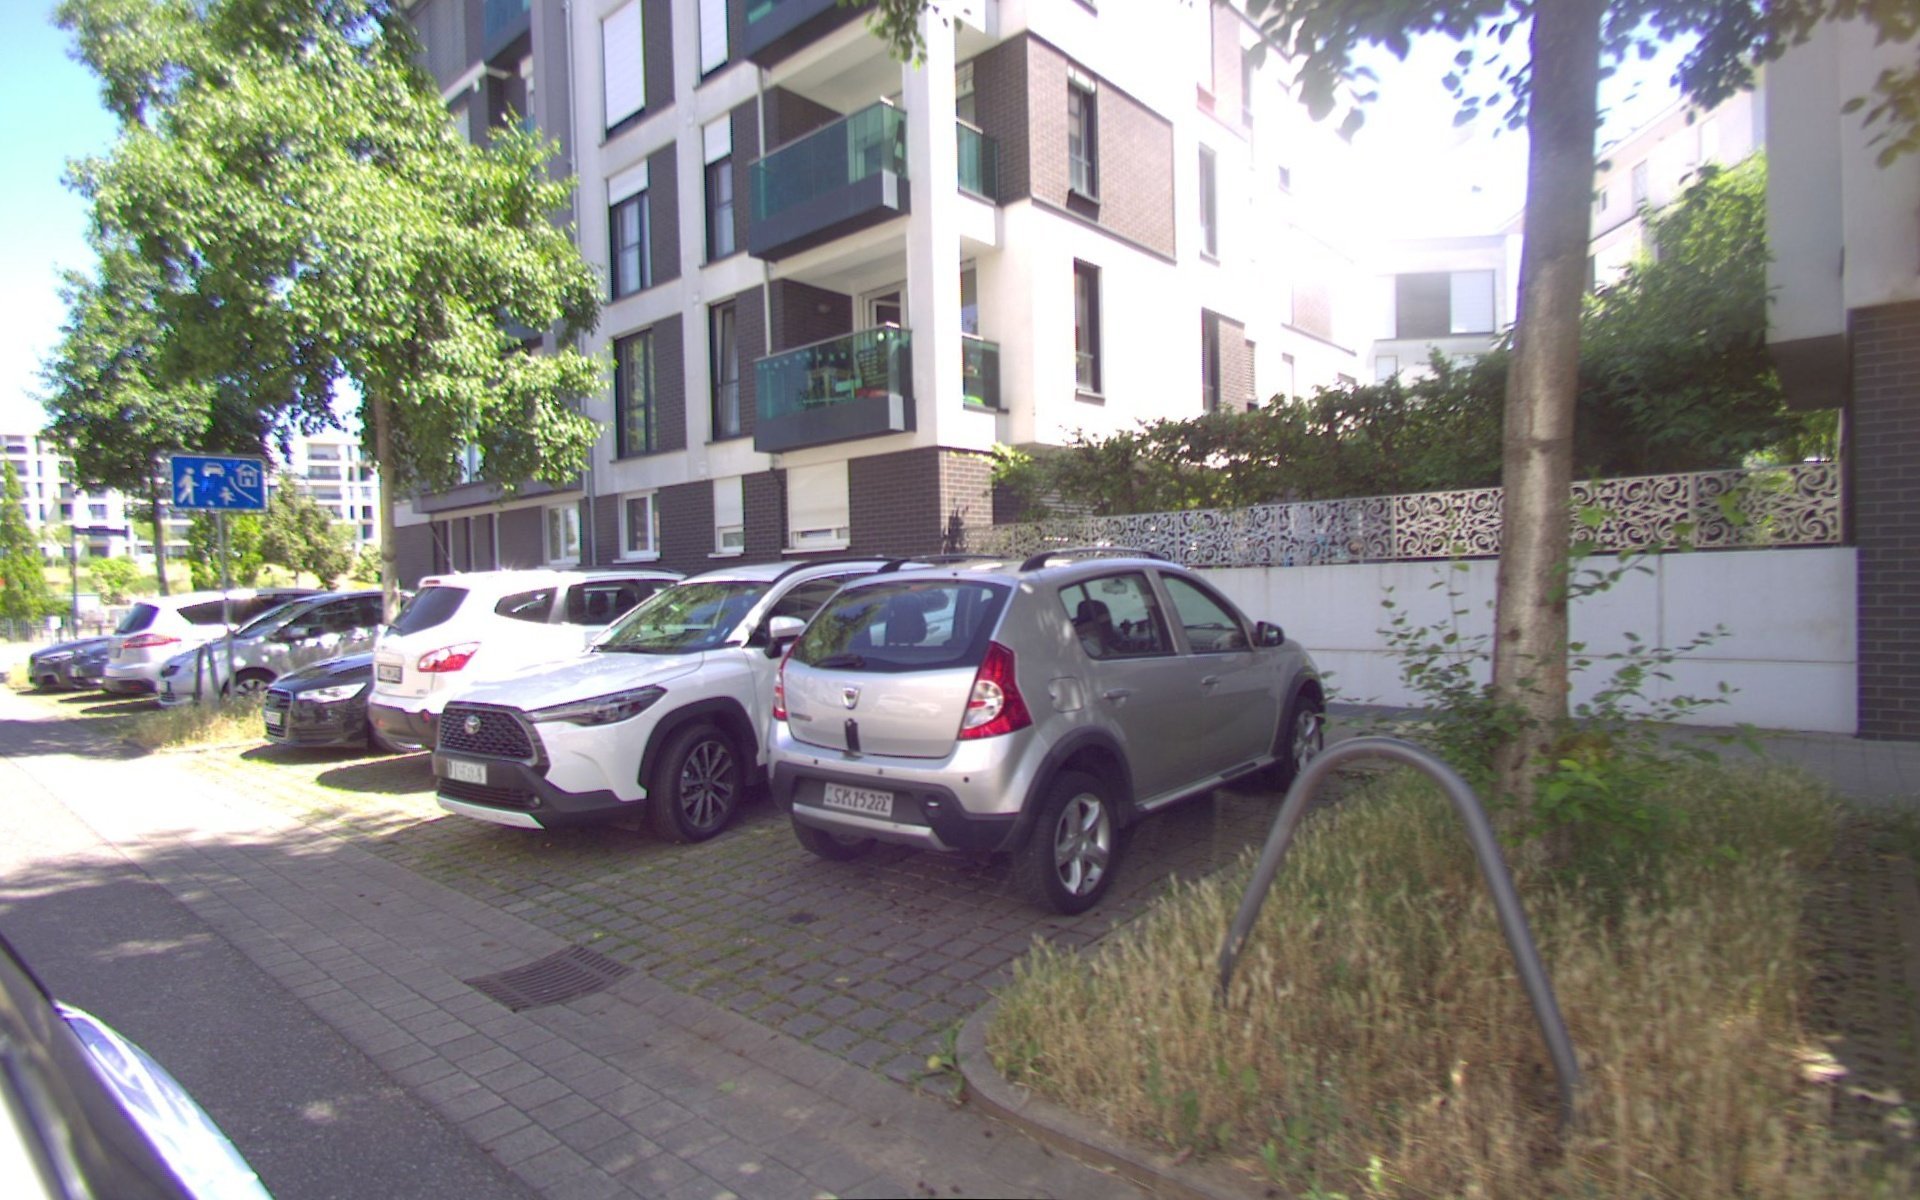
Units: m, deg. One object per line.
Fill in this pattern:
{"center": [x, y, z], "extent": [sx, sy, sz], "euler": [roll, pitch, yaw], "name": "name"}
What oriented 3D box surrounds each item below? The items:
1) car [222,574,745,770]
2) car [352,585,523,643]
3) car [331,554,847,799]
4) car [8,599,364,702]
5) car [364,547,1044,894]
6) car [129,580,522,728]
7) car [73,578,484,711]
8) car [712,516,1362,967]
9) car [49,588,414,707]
{"center": [-4.901, 0.582, 11.074], "extent": [1.828, 1.467, 4.800], "euler": [-1, 3, 41], "name": "car"}
{"center": [-16.067, 0.411, 31.334], "extent": [1.775, 1.531, 4.344], "euler": [-3, 0, 36], "name": "car"}
{"center": [-3.209, 0.488, 9.296], "extent": [1.950, 1.641, 3.937], "euler": [-1, 3, 43], "name": "car"}
{"center": [-14.454, 0.824, 19.217], "extent": [1.926, 1.496, 5.049], "euler": [0, 2, 39], "name": "car"}
{"center": [-1.429, 0.509, 7.335], "extent": [1.963, 1.605, 4.518], "euler": [-1, 3, 36], "name": "car"}
{"center": [-8.619, 0.616, 14.082], "extent": [1.820, 1.542, 4.211], "euler": [-1, 3, 38], "name": "car"}
{"center": [-10.530, 0.568, 16.027], "extent": [2.040, 1.644, 4.980], "euler": [-1, 1, 39], "name": "car"}
{"center": [0.696, 0.438, 5.760], "extent": [1.851, 1.688, 3.642], "euler": [-1, 3, 41], "name": "car"}
{"center": [-12.399, 0.690, 17.557], "extent": [1.826, 1.459, 4.772], "euler": [0, 4, 39], "name": "car"}
